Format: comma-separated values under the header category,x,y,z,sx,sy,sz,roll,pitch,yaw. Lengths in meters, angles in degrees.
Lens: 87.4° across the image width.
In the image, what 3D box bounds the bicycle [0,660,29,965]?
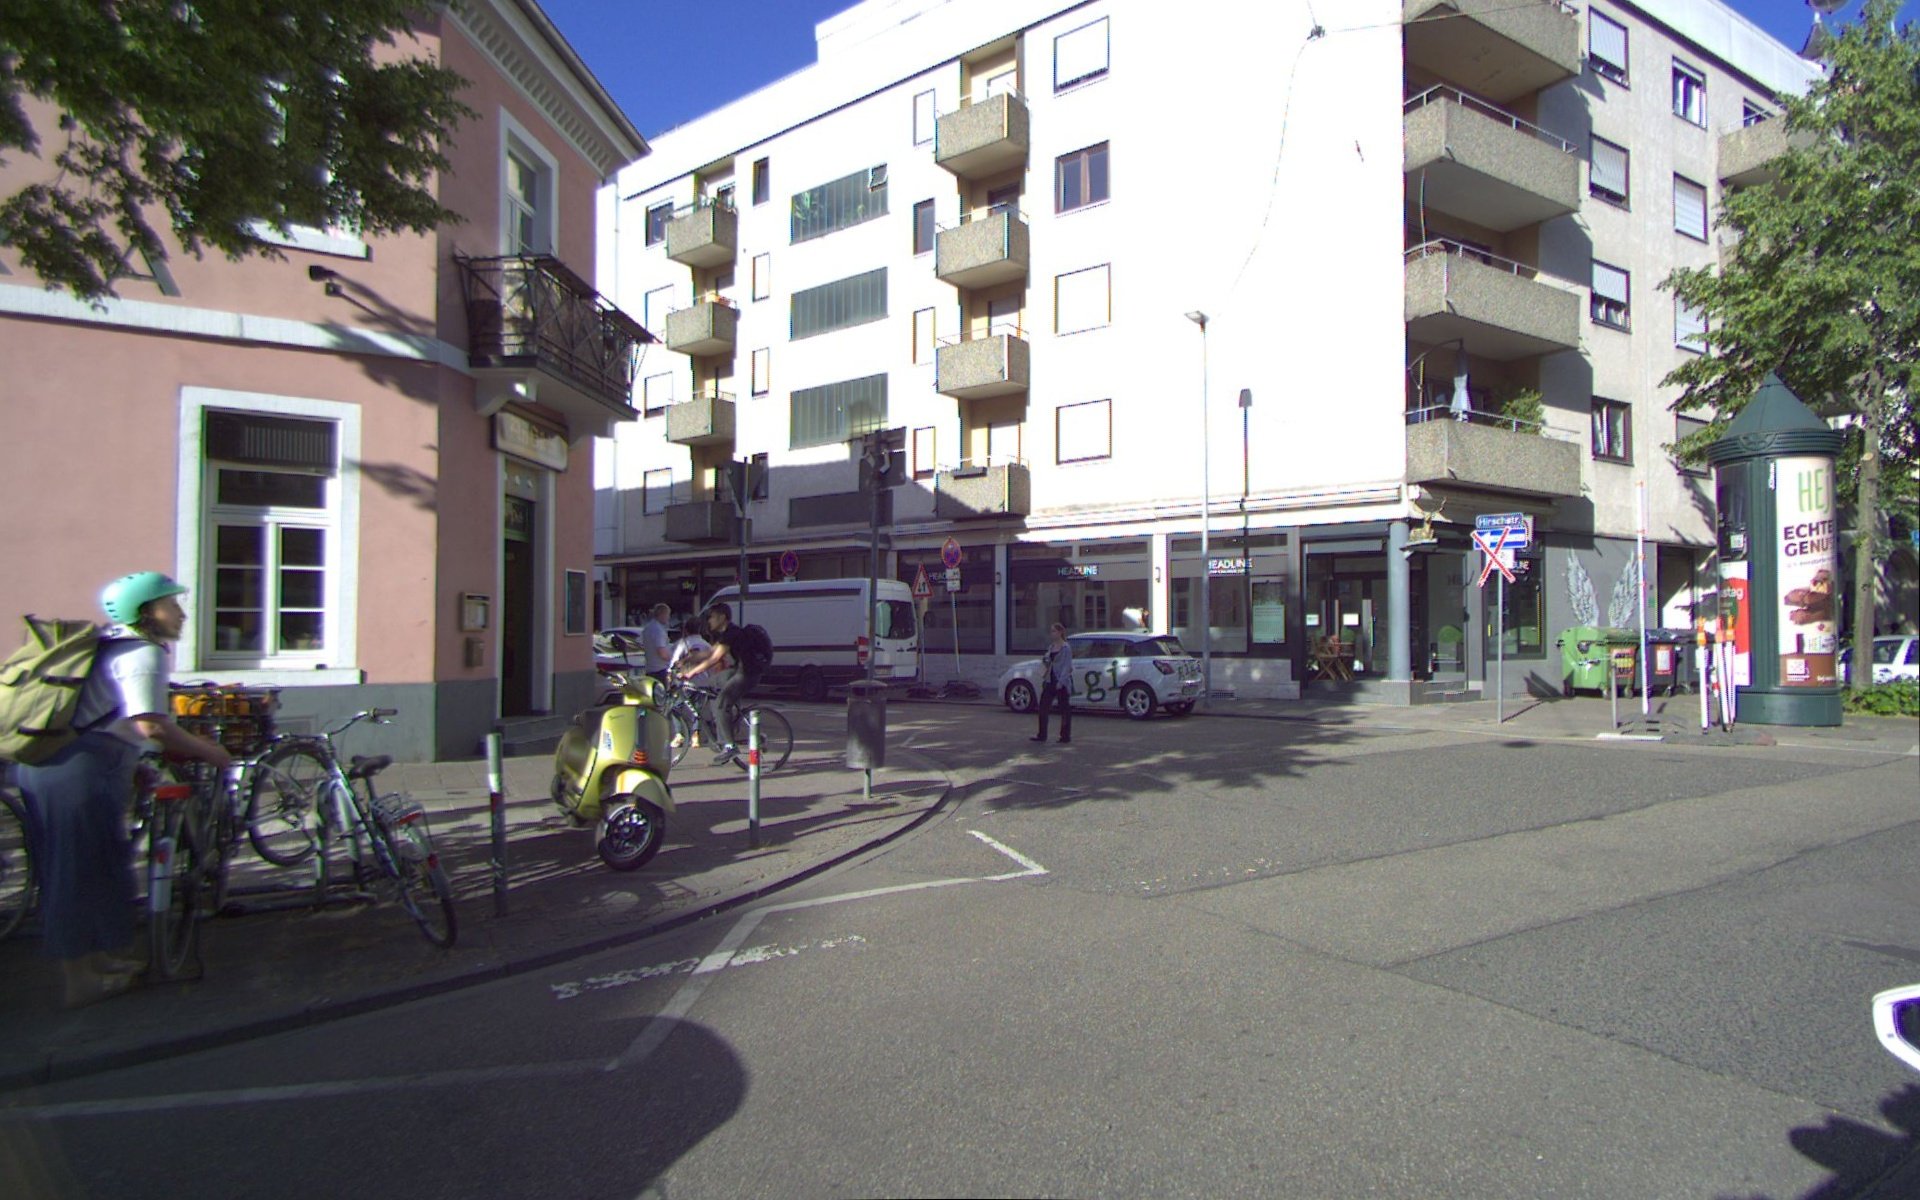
category,x,y,z,sx,sy,sz,roll,pitch,yaw
bicycle,-4.211,0.914,3.958,0.595,1.269,1.841,1,-1,-37

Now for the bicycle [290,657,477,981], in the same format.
category,x,y,z,sx,sy,sz,roll,pitch,yaw
bicycle,-2.985,0.965,5.112,0.595,1.269,1.841,1,-1,-37

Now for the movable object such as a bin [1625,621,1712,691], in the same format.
category,x,y,z,sx,sy,sz,roll,pitch,yaw
movable object such as a bin,15.800,1.234,22.417,1.300,1.504,1.165,1,-2,-32

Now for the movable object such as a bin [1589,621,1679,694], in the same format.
category,x,y,z,sx,sy,sz,roll,pitch,yaw
movable object such as a bin,14.448,1.212,21.534,1.300,1.504,1.165,1,-2,-32

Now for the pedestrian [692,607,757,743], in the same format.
category,x,y,z,sx,sy,sz,roll,pitch,yaw
pedestrian,-3.192,0.992,13.586,0.651,1.783,0.649,1,-2,-38

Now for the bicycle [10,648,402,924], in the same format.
category,x,y,z,sx,sy,sz,roll,pitch,yaw
bicycle,-4.191,0.940,5.786,0.588,1.269,1.794,0,-1,17

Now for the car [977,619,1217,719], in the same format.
category,x,y,z,sx,sy,sz,roll,pitch,yaw
car,2.469,1.225,18.512,3.939,1.631,1.991,-2,-3,39

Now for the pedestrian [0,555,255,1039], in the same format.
category,x,y,z,sx,sy,sz,roll,pitch,yaw
pedestrian,-3.532,0.709,4.117,0.780,1.730,0.766,0,-1,27

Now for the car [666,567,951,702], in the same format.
category,x,y,z,sx,sy,sz,roll,pitch,yaw
car,-3.652,0.815,23.526,6.392,2.754,2.900,-2,-2,35

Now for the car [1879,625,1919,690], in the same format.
category,x,y,z,sx,sy,sz,roll,pitch,yaw
car,22.320,1.217,21.158,1.977,1.408,3.968,1,-2,-31

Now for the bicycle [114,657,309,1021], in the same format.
category,x,y,z,sx,sy,sz,roll,pitch,yaw
bicycle,-3.454,0.940,4.656,0.595,1.269,1.841,1,-1,-37

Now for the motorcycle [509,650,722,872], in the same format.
category,x,y,z,sx,sy,sz,roll,pitch,yaw
motorcycle,-2.423,1.006,6.928,0.751,1.246,1.836,1,-1,-41

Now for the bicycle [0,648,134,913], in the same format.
category,x,y,z,sx,sy,sz,roll,pitch,yaw
bicycle,-5.212,0.924,5.383,0.591,1.269,1.786,1,-1,-18

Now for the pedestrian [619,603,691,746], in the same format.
category,x,y,z,sx,sy,sz,roll,pitch,yaw
pedestrian,-3.925,0.940,12.948,0.646,1.783,0.654,-2,-2,41

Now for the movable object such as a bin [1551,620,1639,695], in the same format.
category,x,y,z,sx,sy,sz,roll,pitch,yaw
movable object such as a bin,13.178,1.169,20.859,1.222,1.504,1.134,1,-2,-32

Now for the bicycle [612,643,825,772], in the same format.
category,x,y,z,sx,sy,sz,roll,pitch,yaw
bicycle,-2.494,1.118,10.418,2.007,1.235,0.717,4,-3,-23

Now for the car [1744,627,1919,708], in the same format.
category,x,y,z,sx,sy,sz,roll,pitch,yaw
car,17.249,1.197,18.511,1.977,1.408,3.968,1,-2,-31

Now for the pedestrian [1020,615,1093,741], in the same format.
category,x,y,z,sx,sy,sz,roll,pitch,yaw
pedestrian,1.324,1.049,13.757,0.760,1.664,0.688,-1,-2,30

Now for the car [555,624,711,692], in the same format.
category,x,y,z,sx,sy,sz,roll,pitch,yaw
car,-8.871,1.523,27.206,3.931,1.718,1.995,-2,-2,32

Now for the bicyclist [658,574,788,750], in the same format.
category,x,y,z,sx,sy,sz,roll,pitch,yaw
bicyclist,-2.465,0.651,10.437,1.141,1.715,0.717,4,-3,-23

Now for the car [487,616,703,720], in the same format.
category,x,y,z,sx,sy,sz,roll,pitch,yaw
car,-6.818,1.196,18.657,3.937,1.718,1.992,-2,-2,37

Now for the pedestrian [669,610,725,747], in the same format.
category,x,y,z,sx,sy,sz,roll,pitch,yaw
pedestrian,-3.372,0.987,12.867,0.646,1.689,0.654,0,-2,-20
